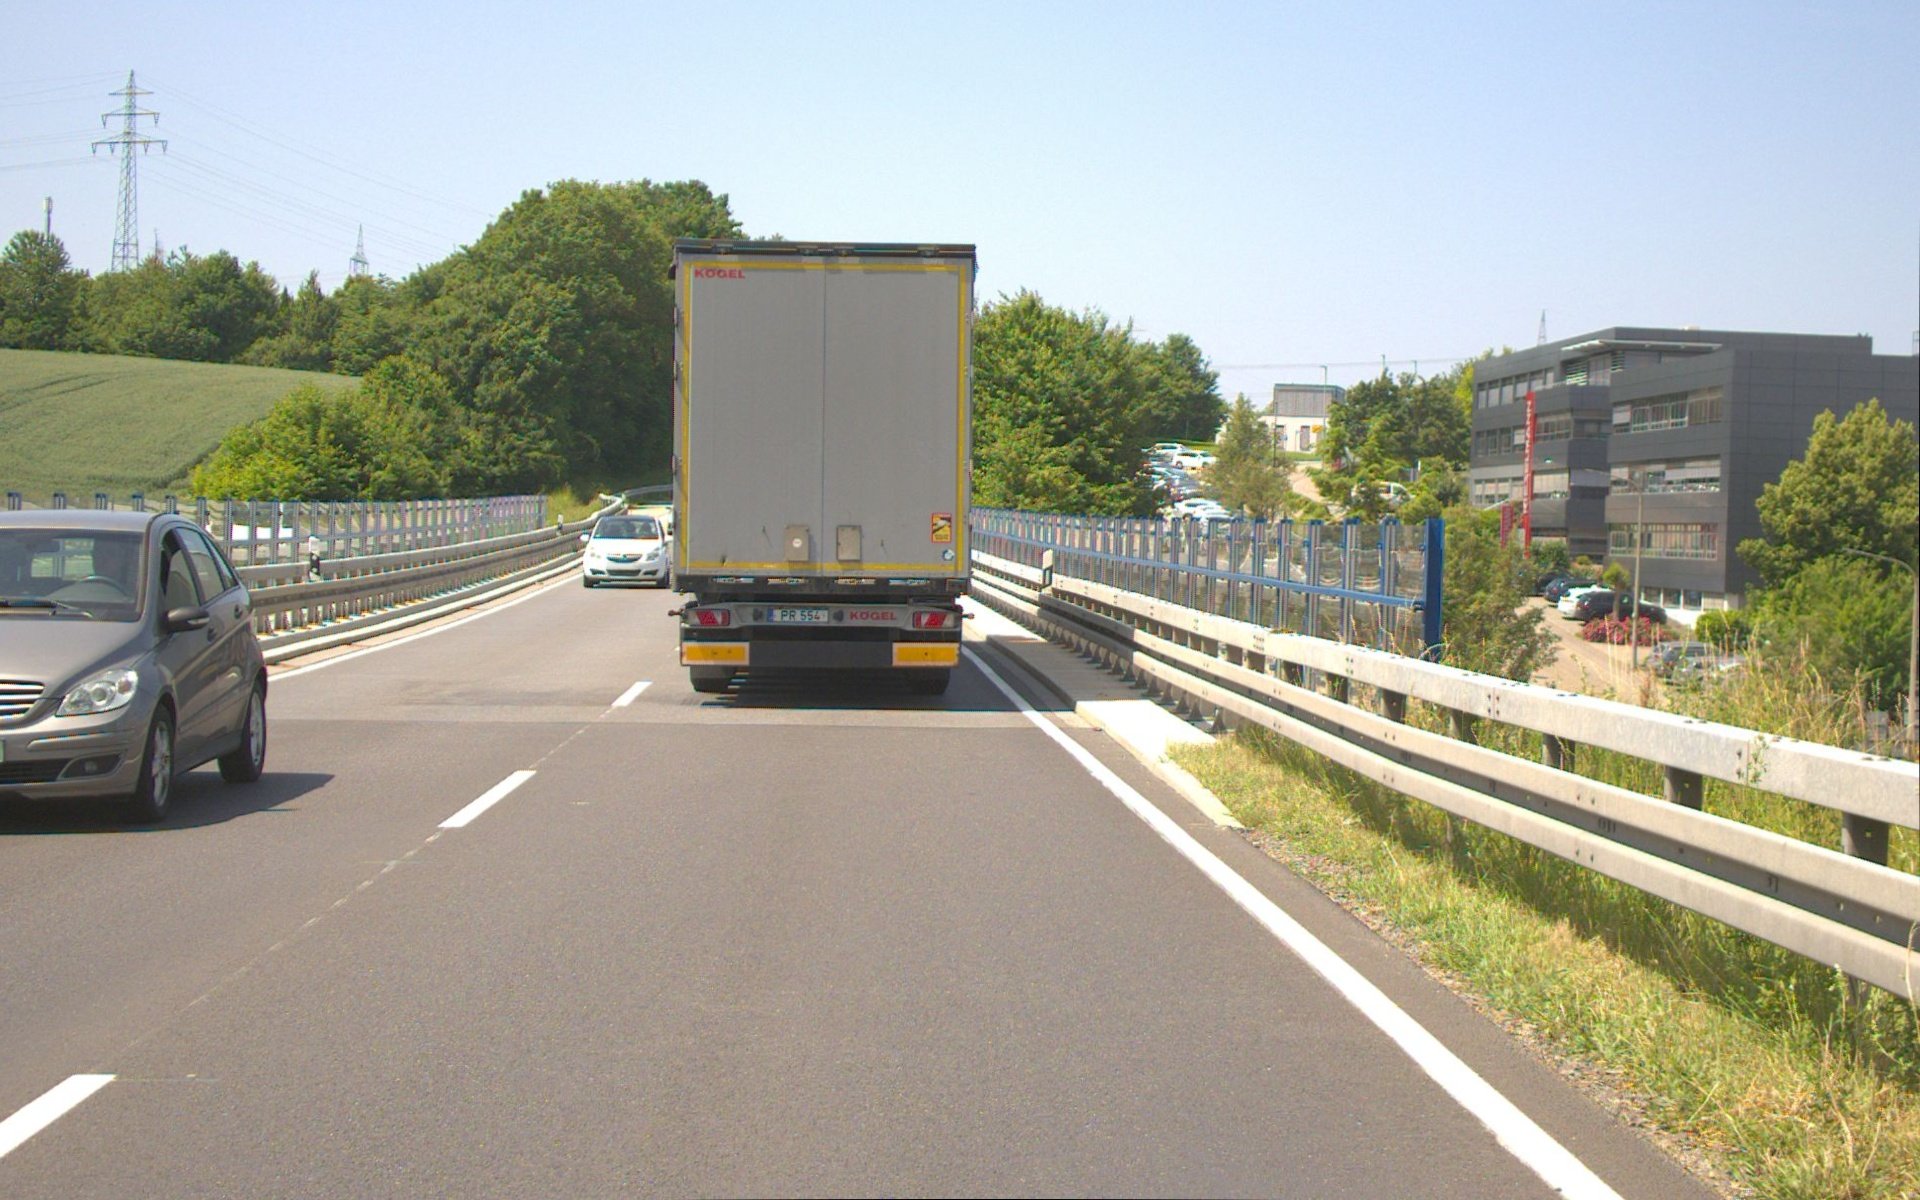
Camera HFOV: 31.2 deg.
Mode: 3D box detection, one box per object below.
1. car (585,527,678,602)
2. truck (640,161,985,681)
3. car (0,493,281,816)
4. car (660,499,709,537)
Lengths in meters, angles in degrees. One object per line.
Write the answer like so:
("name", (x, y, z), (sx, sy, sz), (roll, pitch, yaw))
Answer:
("car", (-6.802, -0.756, 71.553), (1.707, 1.500, 4.119), (0, 1, -2))
("truck", (-1.423, -1.549, 33.673), (2.866, 4.344, 9.790), (0, 1, -2))
("car", (-5.027, 0.233, 19.015), (1.806, 1.584, 4.380), (0, 1, -2))
("car", (-10.424, -3.114, 130.272), (1.781, 1.431, 4.835), (0, 2, -3))
